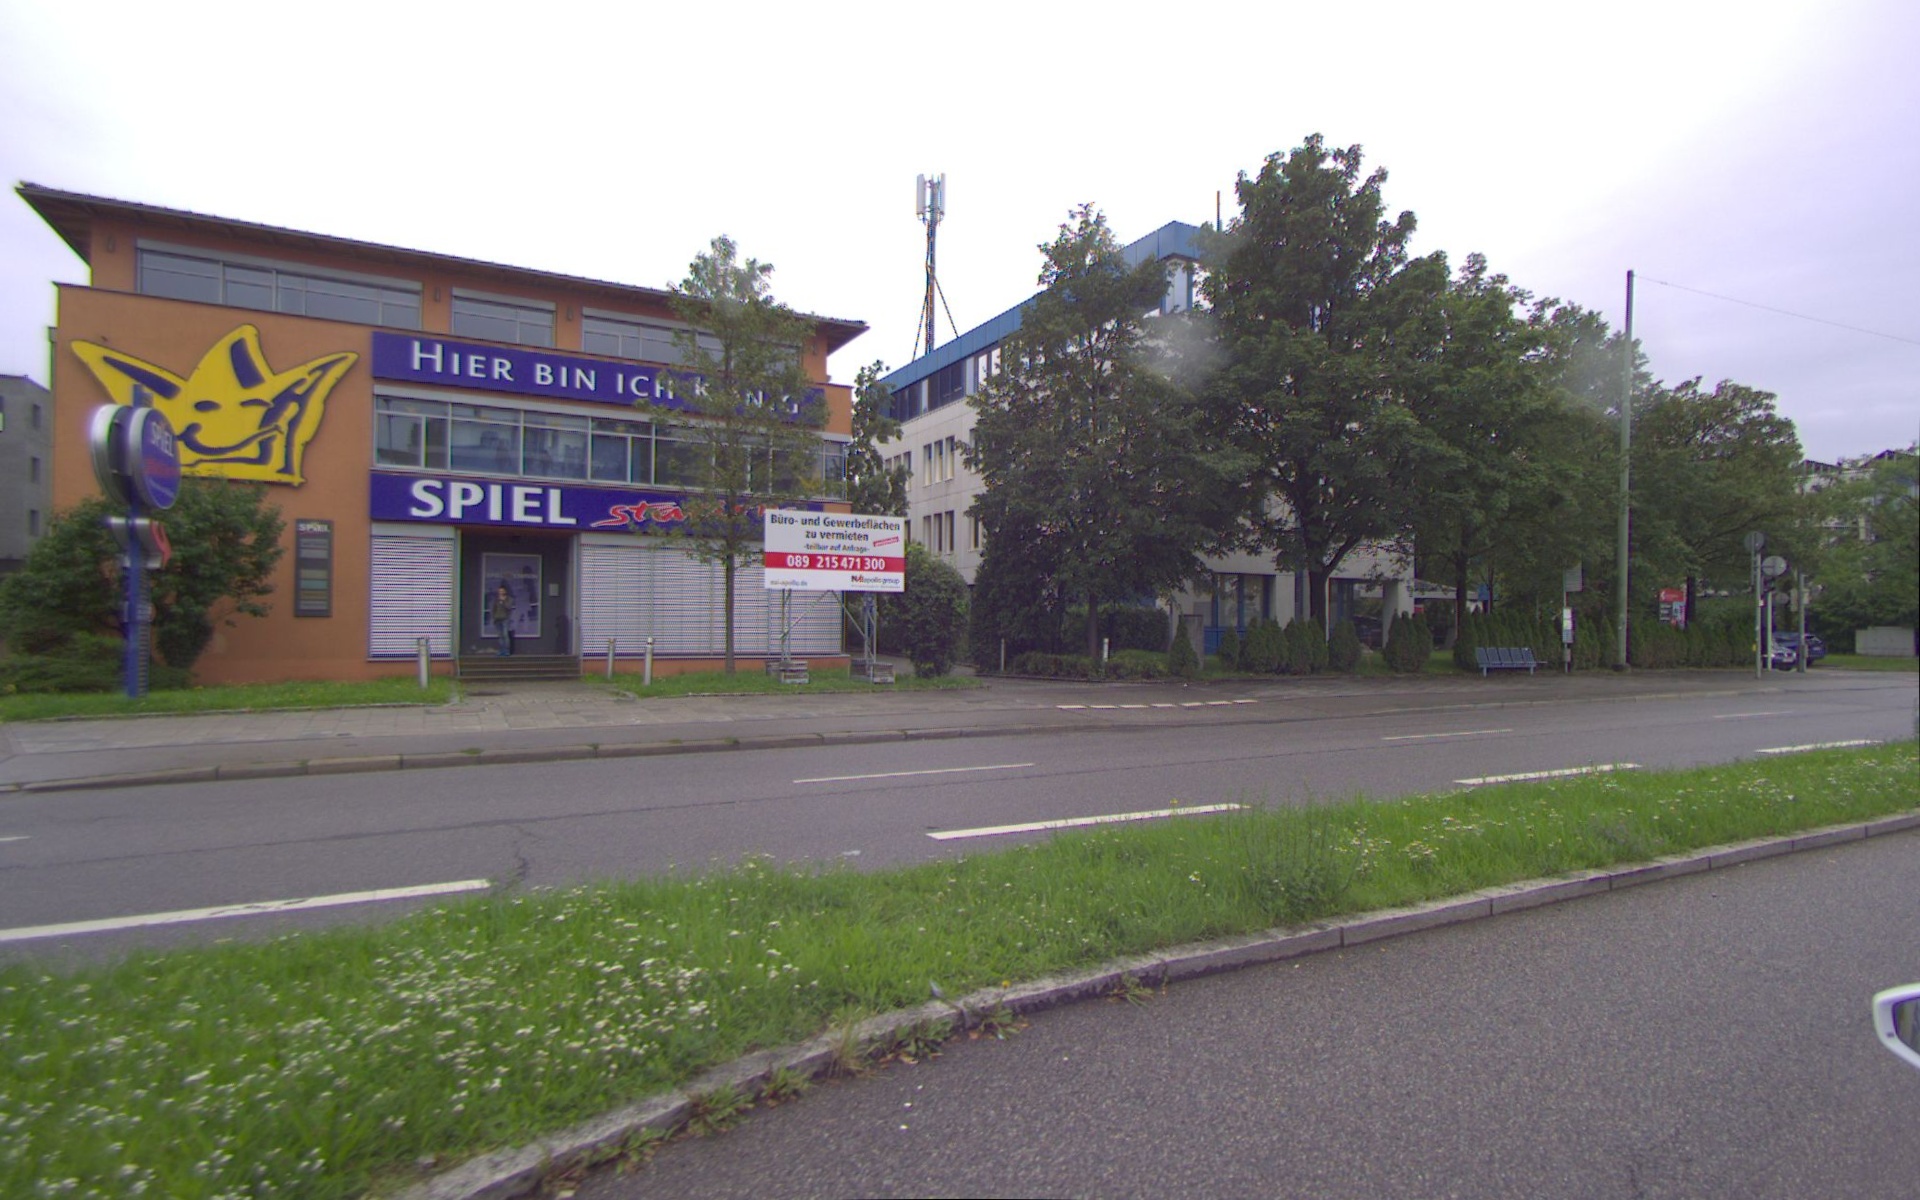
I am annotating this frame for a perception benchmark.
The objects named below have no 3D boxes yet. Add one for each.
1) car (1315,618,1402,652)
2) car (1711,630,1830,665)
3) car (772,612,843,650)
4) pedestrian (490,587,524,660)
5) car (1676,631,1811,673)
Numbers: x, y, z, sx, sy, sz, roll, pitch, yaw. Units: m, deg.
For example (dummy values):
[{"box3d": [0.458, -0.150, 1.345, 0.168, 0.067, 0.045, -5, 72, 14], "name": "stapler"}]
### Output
[{"box3d": [18.650, 1.598, 47.234, 1.836, 1.437, 4.168, 1, 0, -11], "name": "car"}, {"box3d": [40.603, 2.354, 50.434, 1.969, 1.595, 4.265, -1, -1, -19], "name": "car"}, {"box3d": [-6.639, 1.317, 43.350, 1.747, 1.504, 3.862, 1, 0, -30], "name": "car"}, {"box3d": [-10.936, 0.560, 24.257, 0.655, 1.735, 0.655, 1, 0, -30], "name": "pedestrian"}, {"box3d": [34.447, 2.260, 44.351, 1.962, 1.745, 4.788, 1, -2, -5], "name": "car"}]
